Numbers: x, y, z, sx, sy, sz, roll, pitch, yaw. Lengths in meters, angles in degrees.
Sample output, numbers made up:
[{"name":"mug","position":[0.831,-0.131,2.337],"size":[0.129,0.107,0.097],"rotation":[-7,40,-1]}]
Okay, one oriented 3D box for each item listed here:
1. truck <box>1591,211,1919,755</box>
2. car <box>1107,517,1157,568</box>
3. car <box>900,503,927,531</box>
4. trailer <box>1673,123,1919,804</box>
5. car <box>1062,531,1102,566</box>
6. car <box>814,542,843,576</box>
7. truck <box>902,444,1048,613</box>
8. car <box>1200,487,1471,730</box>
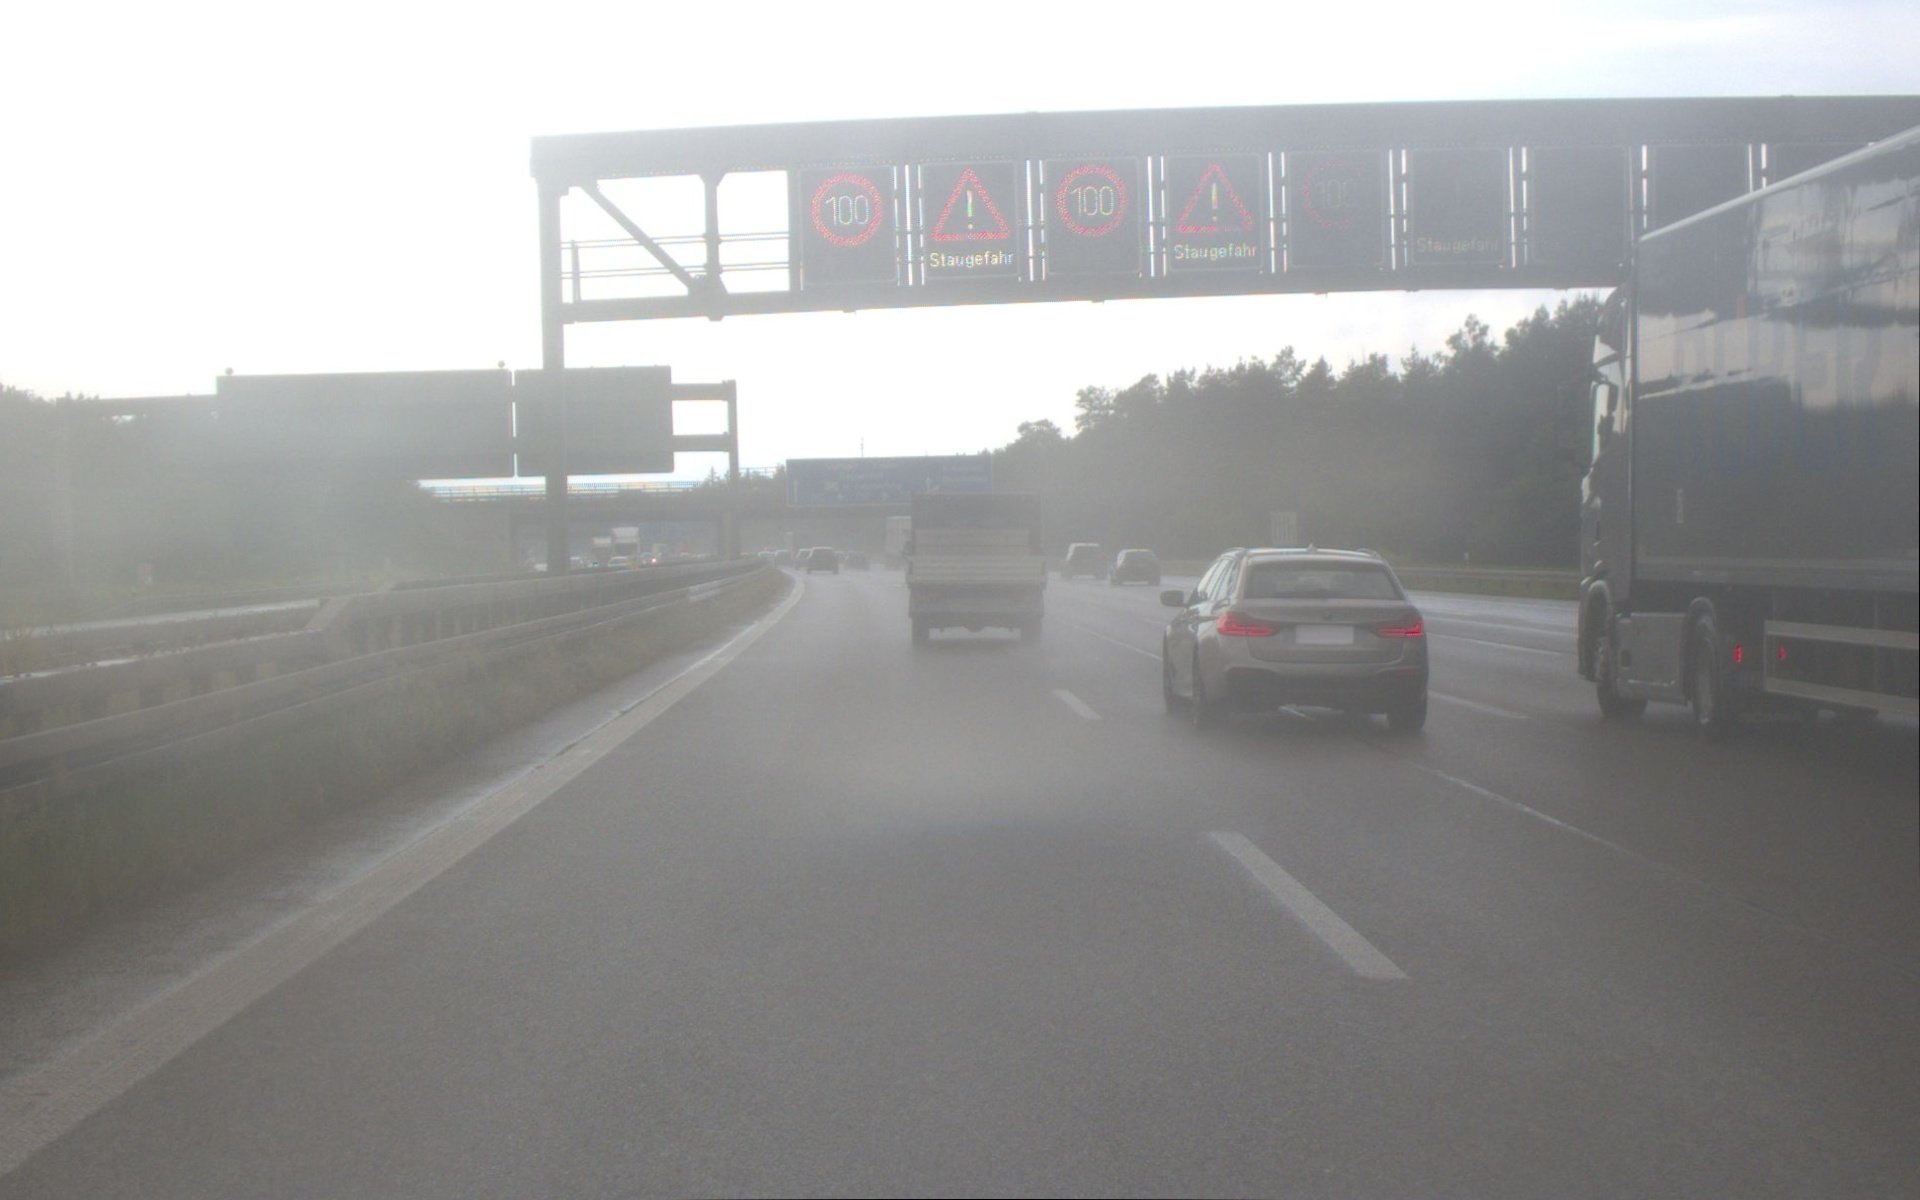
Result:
[{"name":"truck","position":[6.661,-0.887,27.118],"size":[2.293,3.854,5.392],"rotation":[0,1,-1]},{"name":"car","position":[7.015,-2.353,140.460],"size":[1.994,2.007,4.000],"rotation":[1,1,2]},{"name":"car","position":[-3.516,-6.252,258.536],"size":[1.993,2.007,4.000],"rotation":[1,1,-1]},{"name":"trailer","position":[6.789,-0.800,19.952],"size":[2.323,3.988,13.413],"rotation":[0,1,-1]},{"name":"car","position":[5.955,-2.515,167.916],"size":[1.741,1.683,4.000],"rotation":[0,1,-1]},{"name":"car","position":[-8.027,-2.546,210.191],"size":[1.617,2.007,4.000],"rotation":[1,1,-1]},{"name":"truck","position":[0.293,-1.105,53.170],"size":[2.137,2.480,5.313],"rotation":[0,1,2]},{"name":"car","position":[3.124,0.018,29.127],"size":[2.078,1.878,5.010],"rotation":[0,1,5]}]
